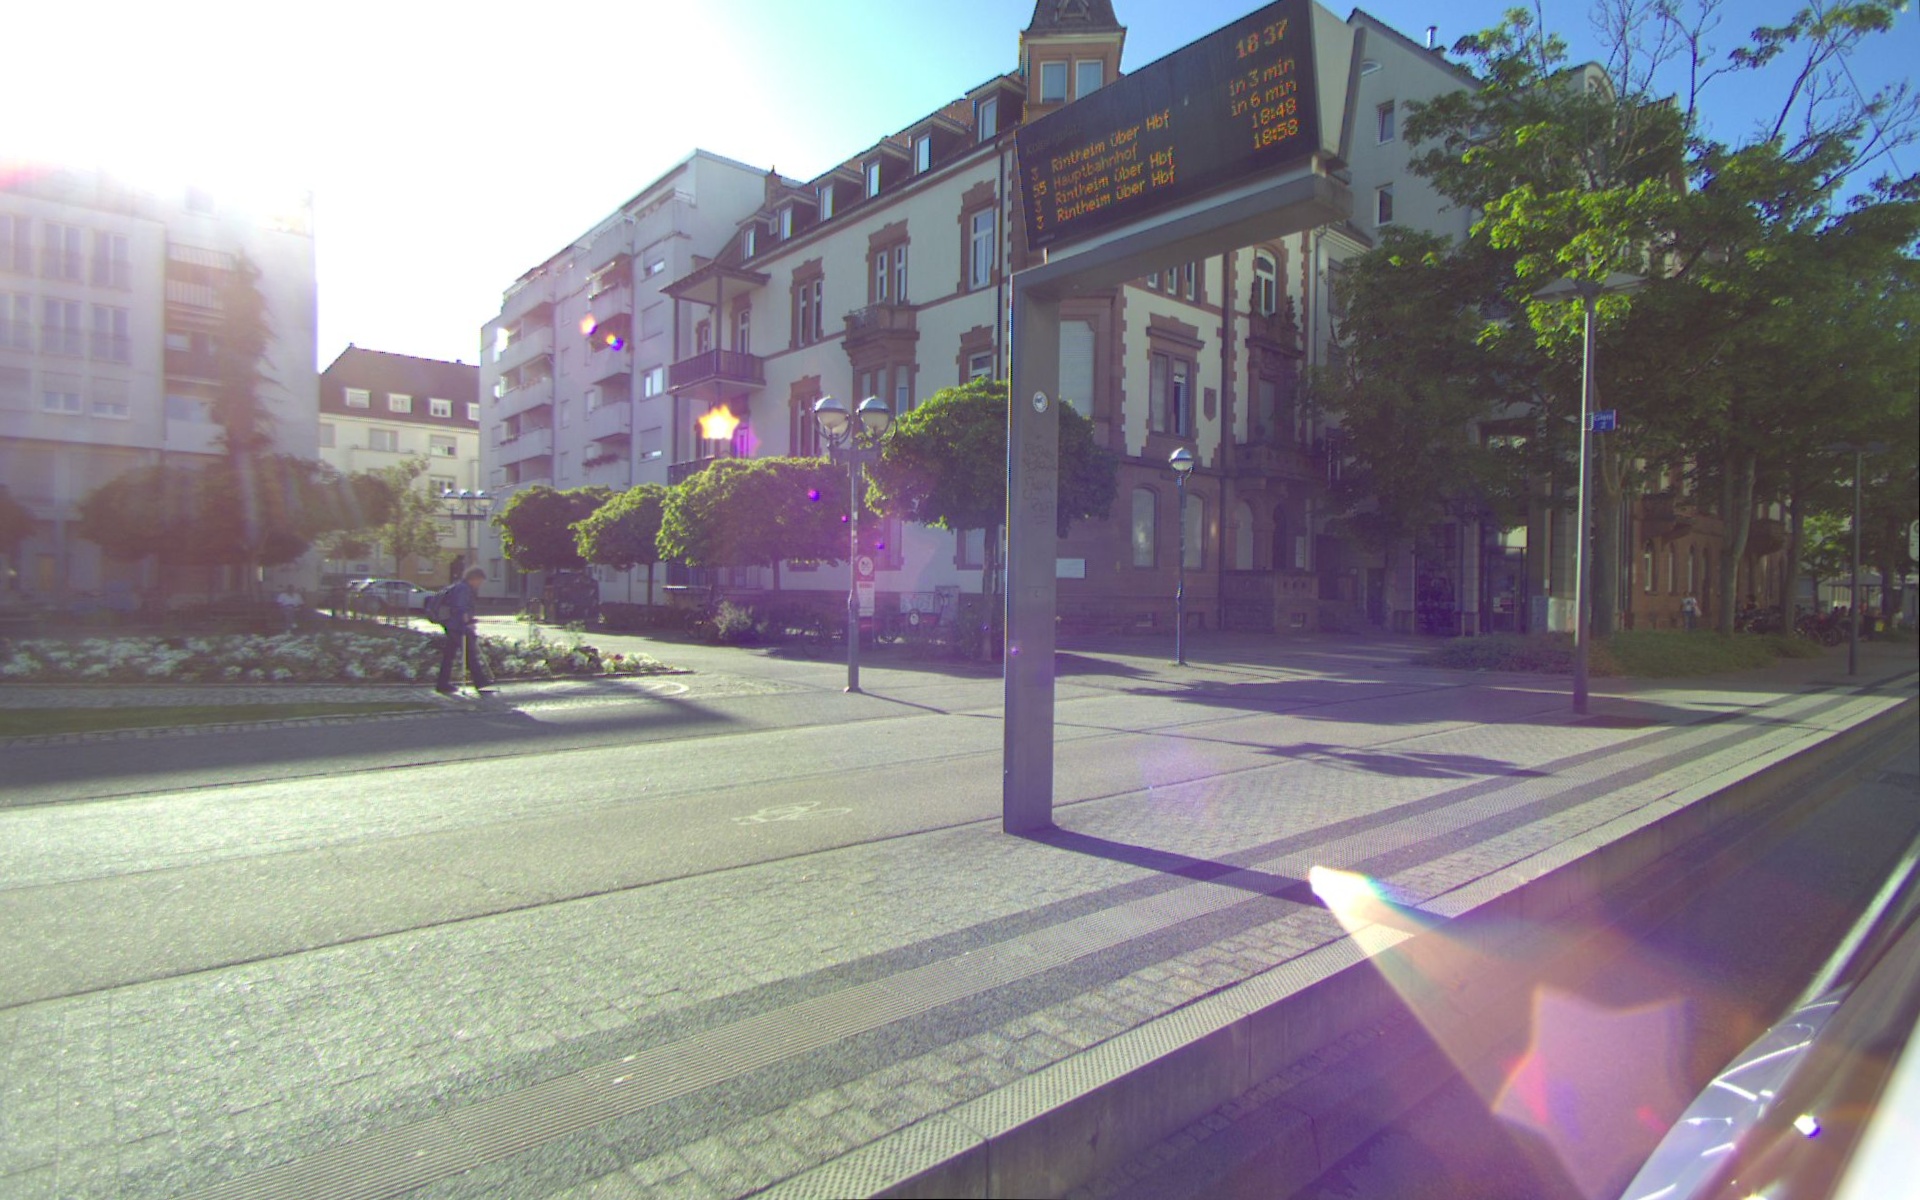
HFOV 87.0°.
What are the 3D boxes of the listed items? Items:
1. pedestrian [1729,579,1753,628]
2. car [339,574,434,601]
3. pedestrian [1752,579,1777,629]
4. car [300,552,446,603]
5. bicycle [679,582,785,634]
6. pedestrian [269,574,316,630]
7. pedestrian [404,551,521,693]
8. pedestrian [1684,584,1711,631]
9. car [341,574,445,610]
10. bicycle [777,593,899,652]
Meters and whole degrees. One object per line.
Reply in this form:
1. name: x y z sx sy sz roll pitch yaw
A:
1. pedestrian: 32.650 0.132 42.306 0.549 2.039 0.654 0 0 -38
2. car: -28.057 -0.605 49.521 3.923 1.304 2.001 0 1 -34
3. pedestrian: 33.110 0.146 41.649 0.549 2.039 0.654 0 0 -38
4. car: -31.471 -1.178 54.446 2.805 2.587 6.297 1 1 43
5. bicycle: -6.317 0.213 28.153 2.864 1.389 0.745 0 1 -41
6. pedestrian: -17.662 0.047 26.798 0.917 1.429 1.529 0 1 -30
7. pedestrian: -6.251 0.246 12.718 1.064 1.689 0.944 1 1 37
8. pedestrian: 28.555 0.284 39.195 0.740 1.757 0.864 1 0 43
9. car: -25.303 -0.338 45.190 3.923 1.536 2.001 0 1 -34
10. bicycle: -2.524 0.442 21.319 0.787 1.081 2.767 1 3 40
